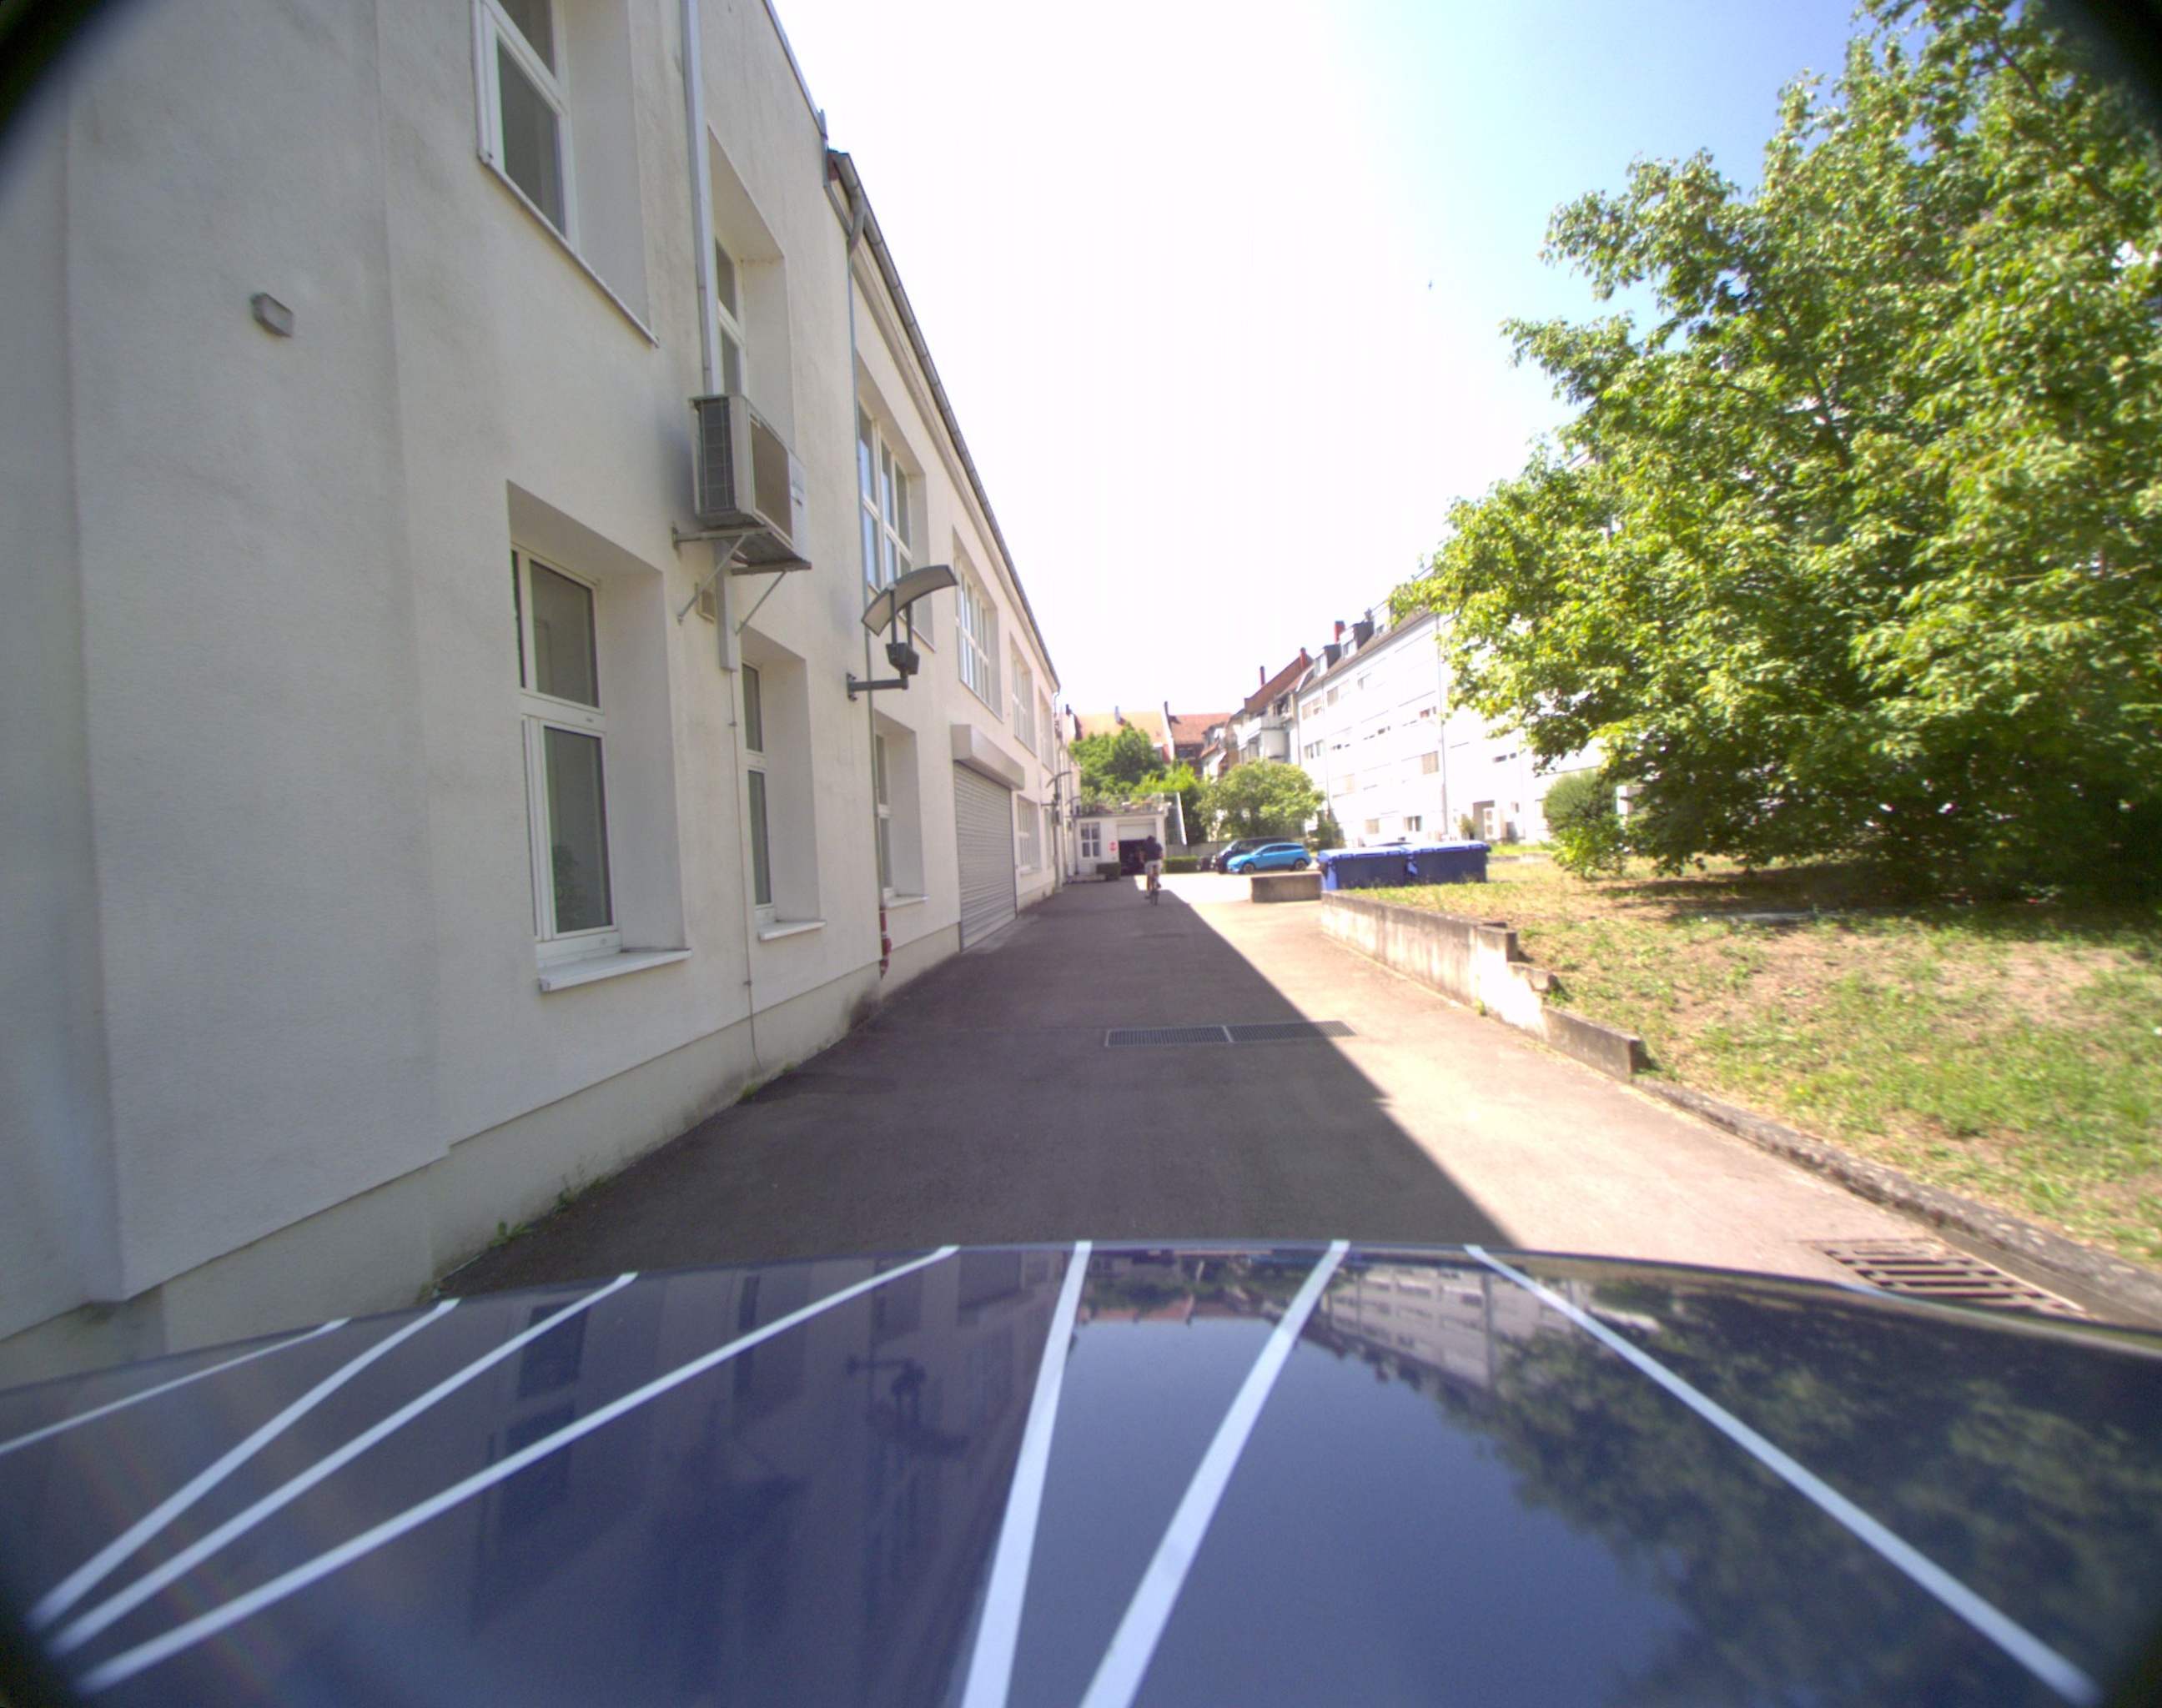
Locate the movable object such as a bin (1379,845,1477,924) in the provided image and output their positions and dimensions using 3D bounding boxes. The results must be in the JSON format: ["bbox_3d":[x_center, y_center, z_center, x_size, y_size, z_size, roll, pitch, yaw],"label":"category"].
[{"bbox_3d":[6.415,0.545,14.125,1.257,1.320,1.104,-4,0,3],"label":"movable object such as a bin"}]

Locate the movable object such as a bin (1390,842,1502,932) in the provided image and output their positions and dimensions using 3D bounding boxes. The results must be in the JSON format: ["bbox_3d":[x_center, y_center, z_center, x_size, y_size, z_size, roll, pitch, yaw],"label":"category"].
[{"bbox_3d":[5.885,0.516,12.340,1.257,1.320,1.104,-4,0,3],"label":"movable object such as a bin"}]

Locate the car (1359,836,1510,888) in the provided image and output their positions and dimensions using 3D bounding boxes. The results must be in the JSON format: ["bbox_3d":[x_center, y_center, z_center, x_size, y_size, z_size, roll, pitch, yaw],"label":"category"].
[{"bbox_3d":[11.206,0.242,24.271,3.997,1.428,1.711,-3,0,0],"label":"car"}]

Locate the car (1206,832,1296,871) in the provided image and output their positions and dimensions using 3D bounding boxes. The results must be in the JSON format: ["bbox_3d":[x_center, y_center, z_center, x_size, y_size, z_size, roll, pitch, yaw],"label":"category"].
[{"bbox_3d":[9.448,-0.123,42.456,4.448,1.821,2.000,-4,1,0],"label":"car"}]

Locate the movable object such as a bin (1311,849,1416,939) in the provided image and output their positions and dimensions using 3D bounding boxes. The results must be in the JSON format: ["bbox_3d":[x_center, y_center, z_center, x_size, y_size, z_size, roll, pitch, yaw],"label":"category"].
[{"bbox_3d":[4.568,0.624,12.401,1.257,1.320,1.104,-4,0,3],"label":"movable object such as a bin"}]

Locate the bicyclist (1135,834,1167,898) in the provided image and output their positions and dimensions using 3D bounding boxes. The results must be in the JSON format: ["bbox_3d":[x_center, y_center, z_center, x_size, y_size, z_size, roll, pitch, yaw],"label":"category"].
[{"bbox_3d":[1.849,0.307,20.269,0.724,1.600,0.978,-4,2,4],"label":"bicyclist"}]

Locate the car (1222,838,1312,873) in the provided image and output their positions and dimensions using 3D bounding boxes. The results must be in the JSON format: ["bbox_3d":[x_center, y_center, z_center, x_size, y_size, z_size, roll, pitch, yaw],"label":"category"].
[{"bbox_3d":[9.696,0.066,39.758,4.167,1.544,1.859,-4,0,-2],"label":"car"}]

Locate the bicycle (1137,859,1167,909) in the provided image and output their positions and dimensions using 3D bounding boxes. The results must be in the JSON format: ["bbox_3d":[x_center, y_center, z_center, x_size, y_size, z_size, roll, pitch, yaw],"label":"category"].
[{"bbox_3d":[1.880,0.771,20.330,0.645,1.168,1.904,-4,2,3],"label":"bicycle"}]

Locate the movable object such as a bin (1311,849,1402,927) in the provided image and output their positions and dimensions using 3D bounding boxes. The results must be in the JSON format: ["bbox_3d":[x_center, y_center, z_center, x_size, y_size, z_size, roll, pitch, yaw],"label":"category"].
[{"bbox_3d":[5.103,0.605,14.155,1.257,1.320,1.104,-4,0,3],"label":"movable object such as a bin"}]
